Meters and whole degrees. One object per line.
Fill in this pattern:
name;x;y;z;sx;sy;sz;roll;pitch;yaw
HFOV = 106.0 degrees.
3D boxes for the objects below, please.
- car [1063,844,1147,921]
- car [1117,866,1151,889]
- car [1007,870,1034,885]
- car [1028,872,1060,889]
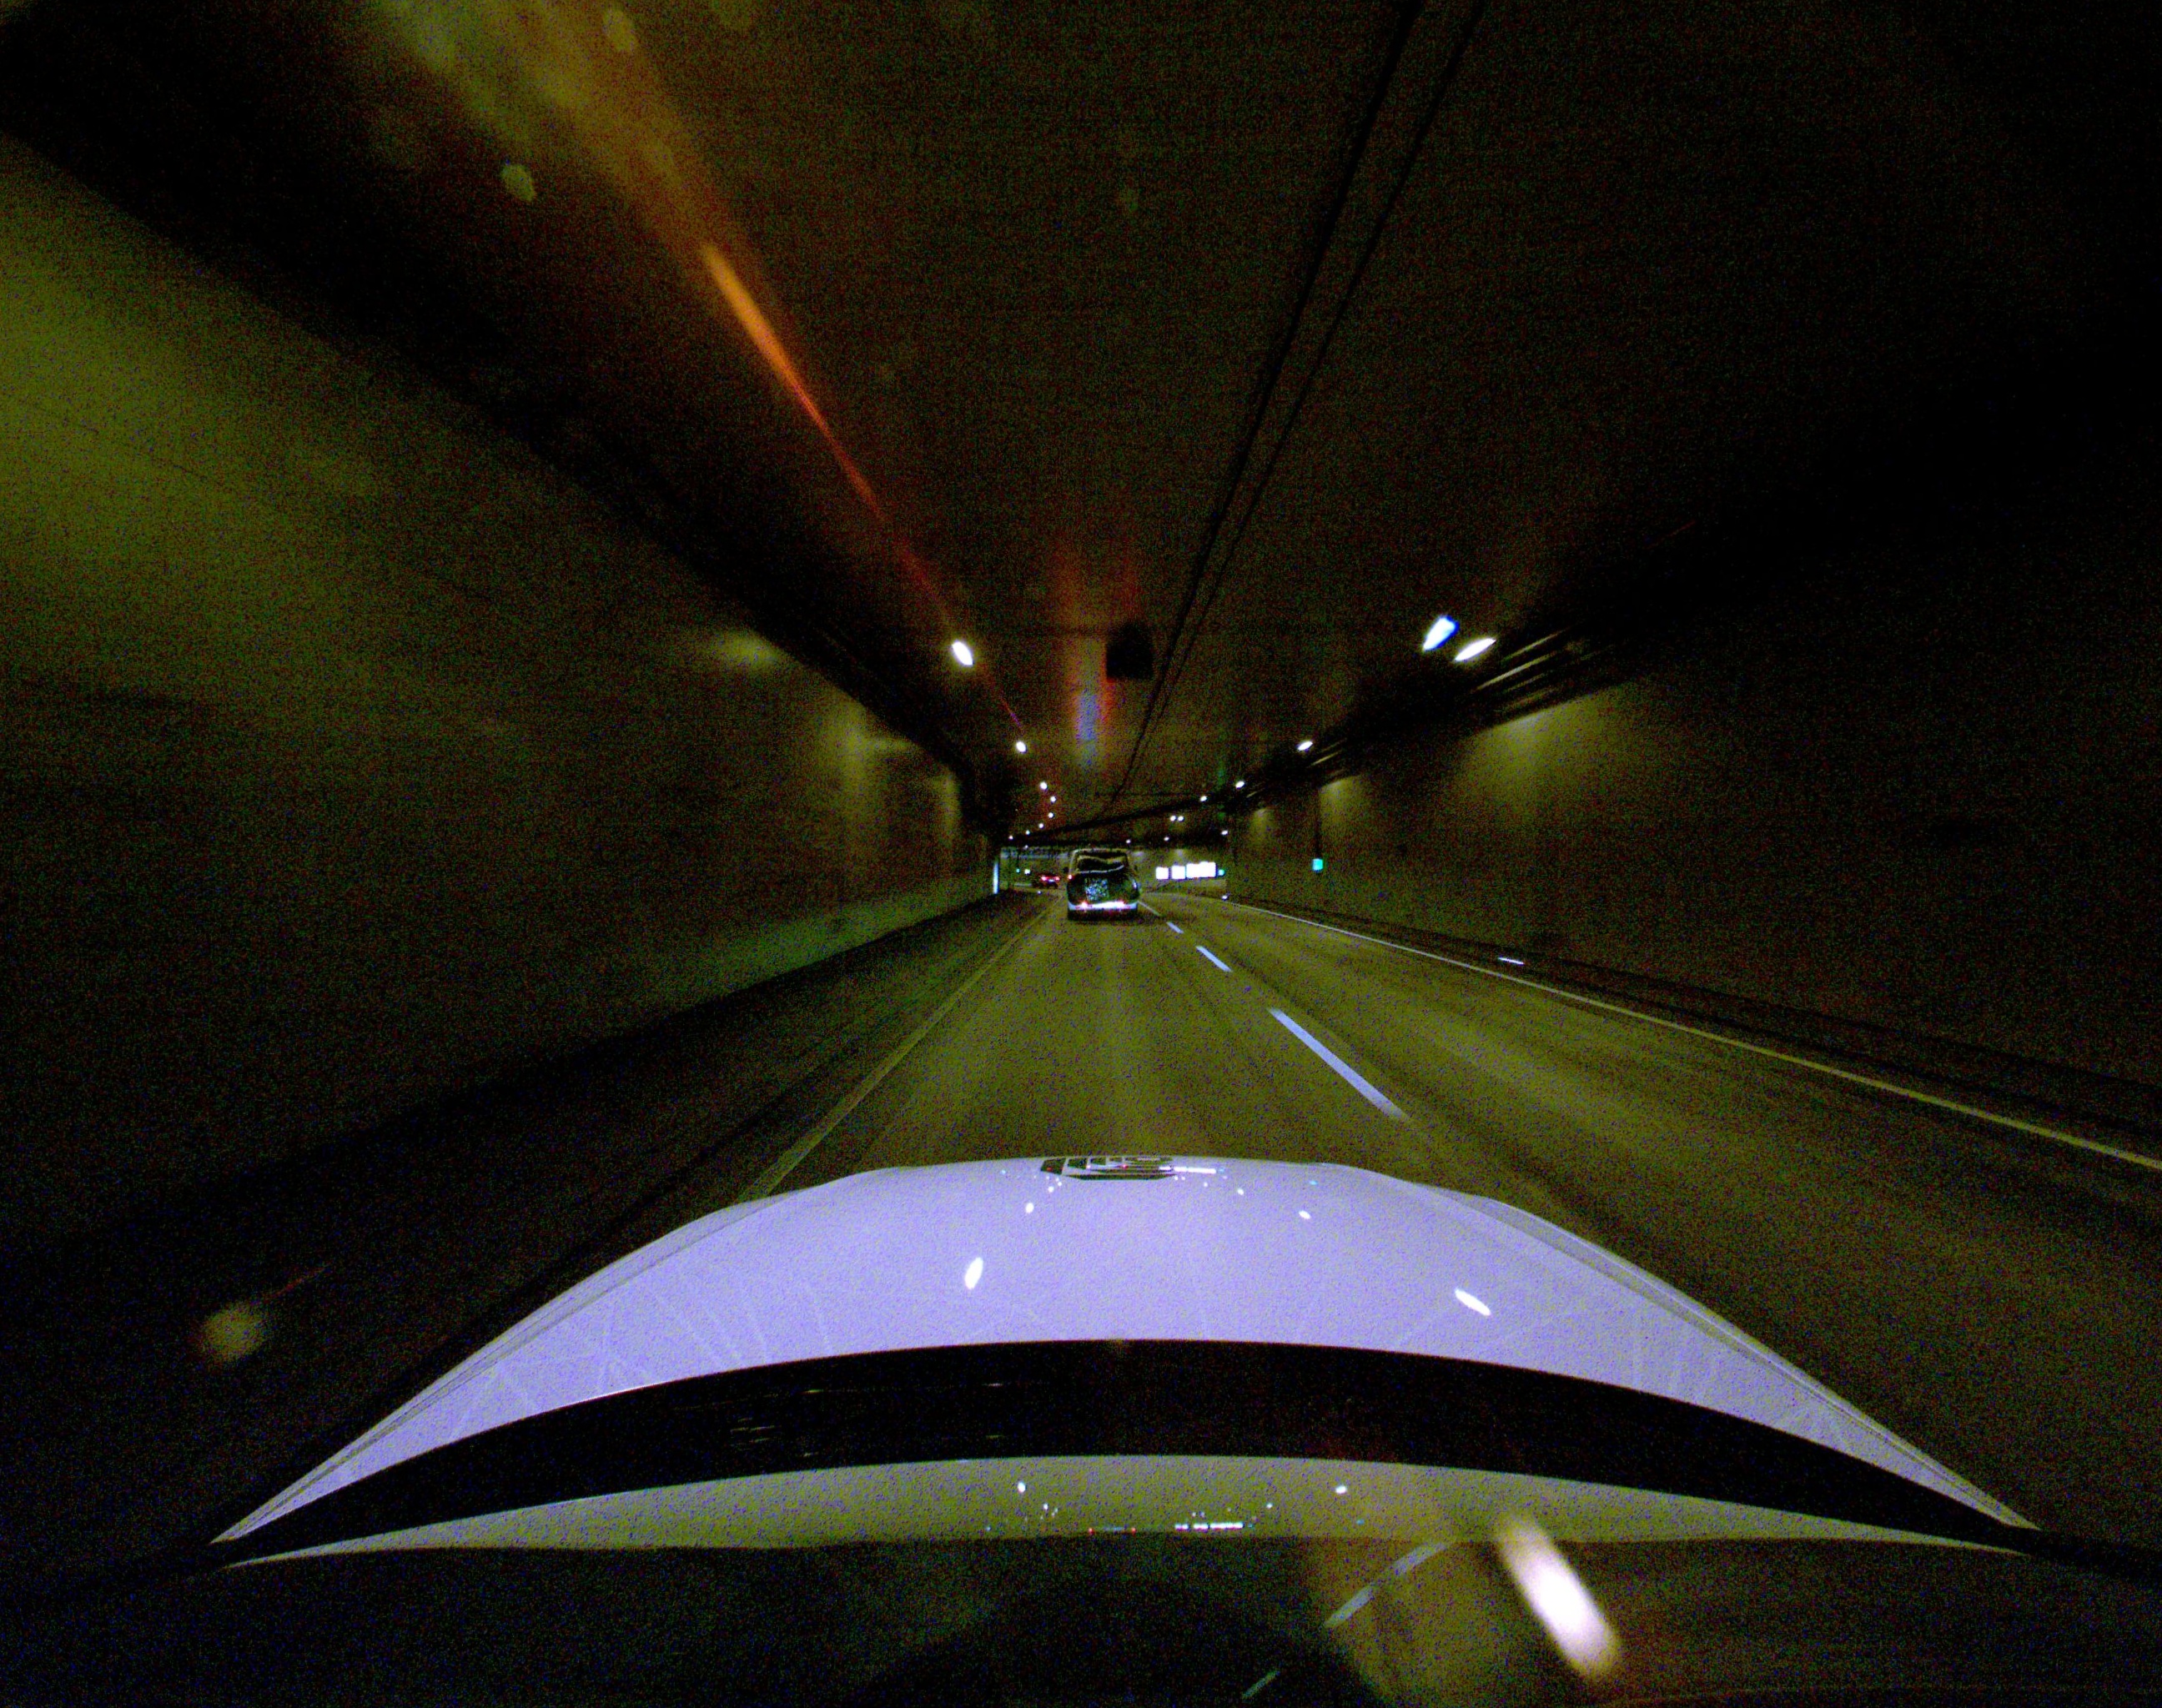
car;0.525;0.751;22.553;1.988;1.847;5.296;-1;-1;-2
car;3.917;1.707;60.925;1.604;1.630;3.341;-2;0;-13
car;-7.203;2.796;96.585;1.833;1.630;3.808;2;-1;-29
car;-3.828;2.682;83.044;1.832;1.630;3.810;2;-1;-26
